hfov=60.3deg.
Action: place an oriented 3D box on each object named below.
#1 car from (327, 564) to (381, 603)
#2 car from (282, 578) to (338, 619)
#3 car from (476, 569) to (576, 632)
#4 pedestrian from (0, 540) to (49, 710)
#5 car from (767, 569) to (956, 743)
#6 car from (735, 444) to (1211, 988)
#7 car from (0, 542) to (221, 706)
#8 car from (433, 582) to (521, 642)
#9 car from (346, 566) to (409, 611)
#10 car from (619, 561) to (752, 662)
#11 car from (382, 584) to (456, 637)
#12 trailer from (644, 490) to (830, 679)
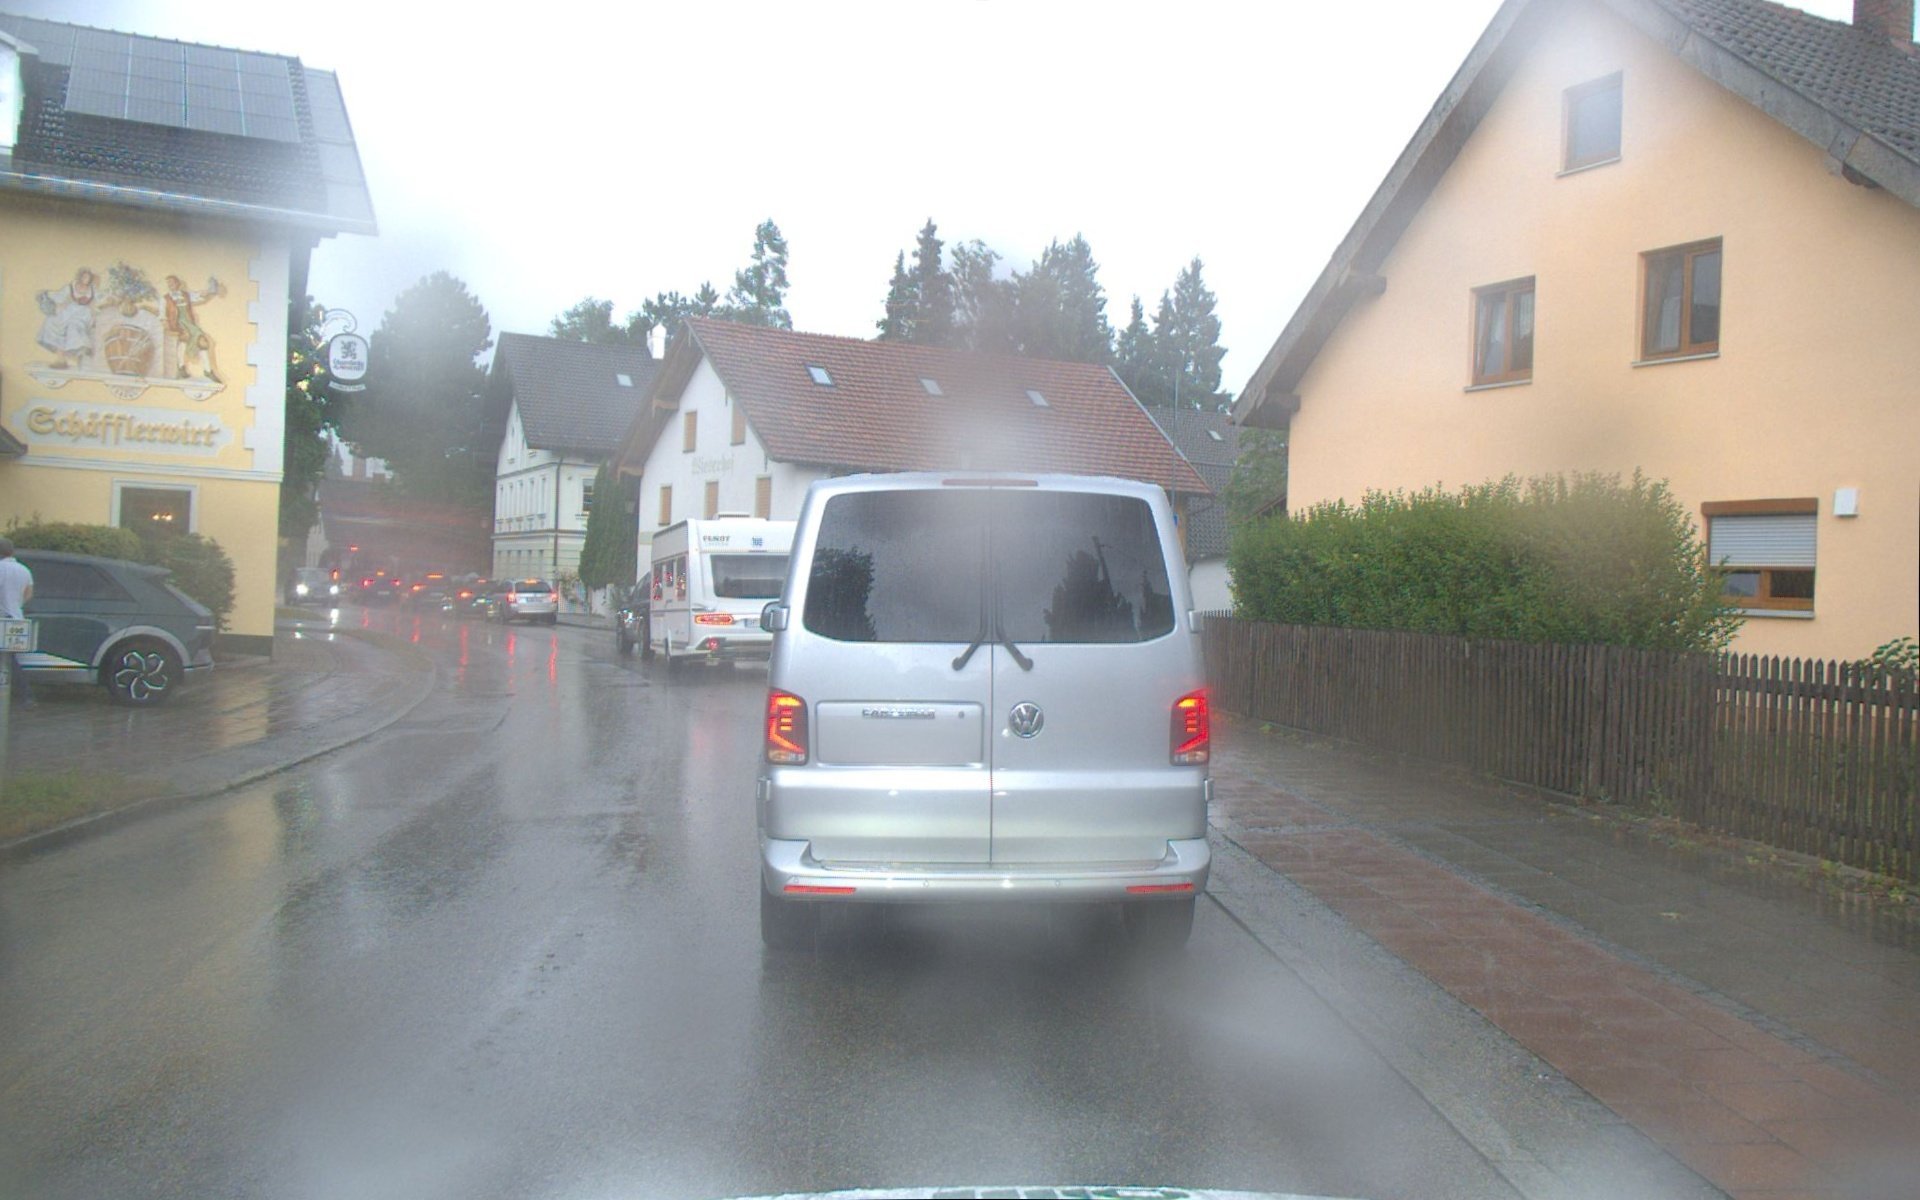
[{"bbox_3d":[-32.673,-0.919,89.112,2.143,1.932,4.971,2,1,-27],"label":"car"},{"bbox_3d":[-28.725,-0.093,73.054,1.900,1.775,4.154,0,0,-28],"label":"car"},{"bbox_3d":[-14.397,0.016,54.654,2.143,1.932,4.970,2,-1,-27],"label":"car"},{"bbox_3d":[-9.836,0.252,17.136,0.547,1.719,0.487,5,-1,-32],"label":"pedestrian"},{"bbox_3d":[-1.197,0.482,18.045,1.676,1.611,4.677,-1,1,-8],"label":"car"},{"bbox_3d":[0.030,0.420,8.627,1.740,1.997,5.073,0,0,-1],"label":"car"},{"bbox_3d":[-10.707,0.174,18.262,4.427,1.594,1.822,5,1,-30],"label":"car"},{"bbox_3d":[-17.616,0.403,60.201,2.143,1.932,4.971,2,1,-27],"label":"car"},{"bbox_3d":[-27.759,-0.583,78.754,2.143,1.932,4.971,2,1,-27],"label":"car"},{"bbox_3d":[-5.803,0.210,34.453,2.021,1.932,5.150,1,0,-17],"label":"car"},{"bbox_3d":[-22.461,0.417,68.577,2.143,1.932,4.971,2,1,-27],"label":"car"},{"bbox_3d":[-4.071,-0.249,29.085,2.235,2.955,6.102,1,0,-17],"label":"trailer"}]
